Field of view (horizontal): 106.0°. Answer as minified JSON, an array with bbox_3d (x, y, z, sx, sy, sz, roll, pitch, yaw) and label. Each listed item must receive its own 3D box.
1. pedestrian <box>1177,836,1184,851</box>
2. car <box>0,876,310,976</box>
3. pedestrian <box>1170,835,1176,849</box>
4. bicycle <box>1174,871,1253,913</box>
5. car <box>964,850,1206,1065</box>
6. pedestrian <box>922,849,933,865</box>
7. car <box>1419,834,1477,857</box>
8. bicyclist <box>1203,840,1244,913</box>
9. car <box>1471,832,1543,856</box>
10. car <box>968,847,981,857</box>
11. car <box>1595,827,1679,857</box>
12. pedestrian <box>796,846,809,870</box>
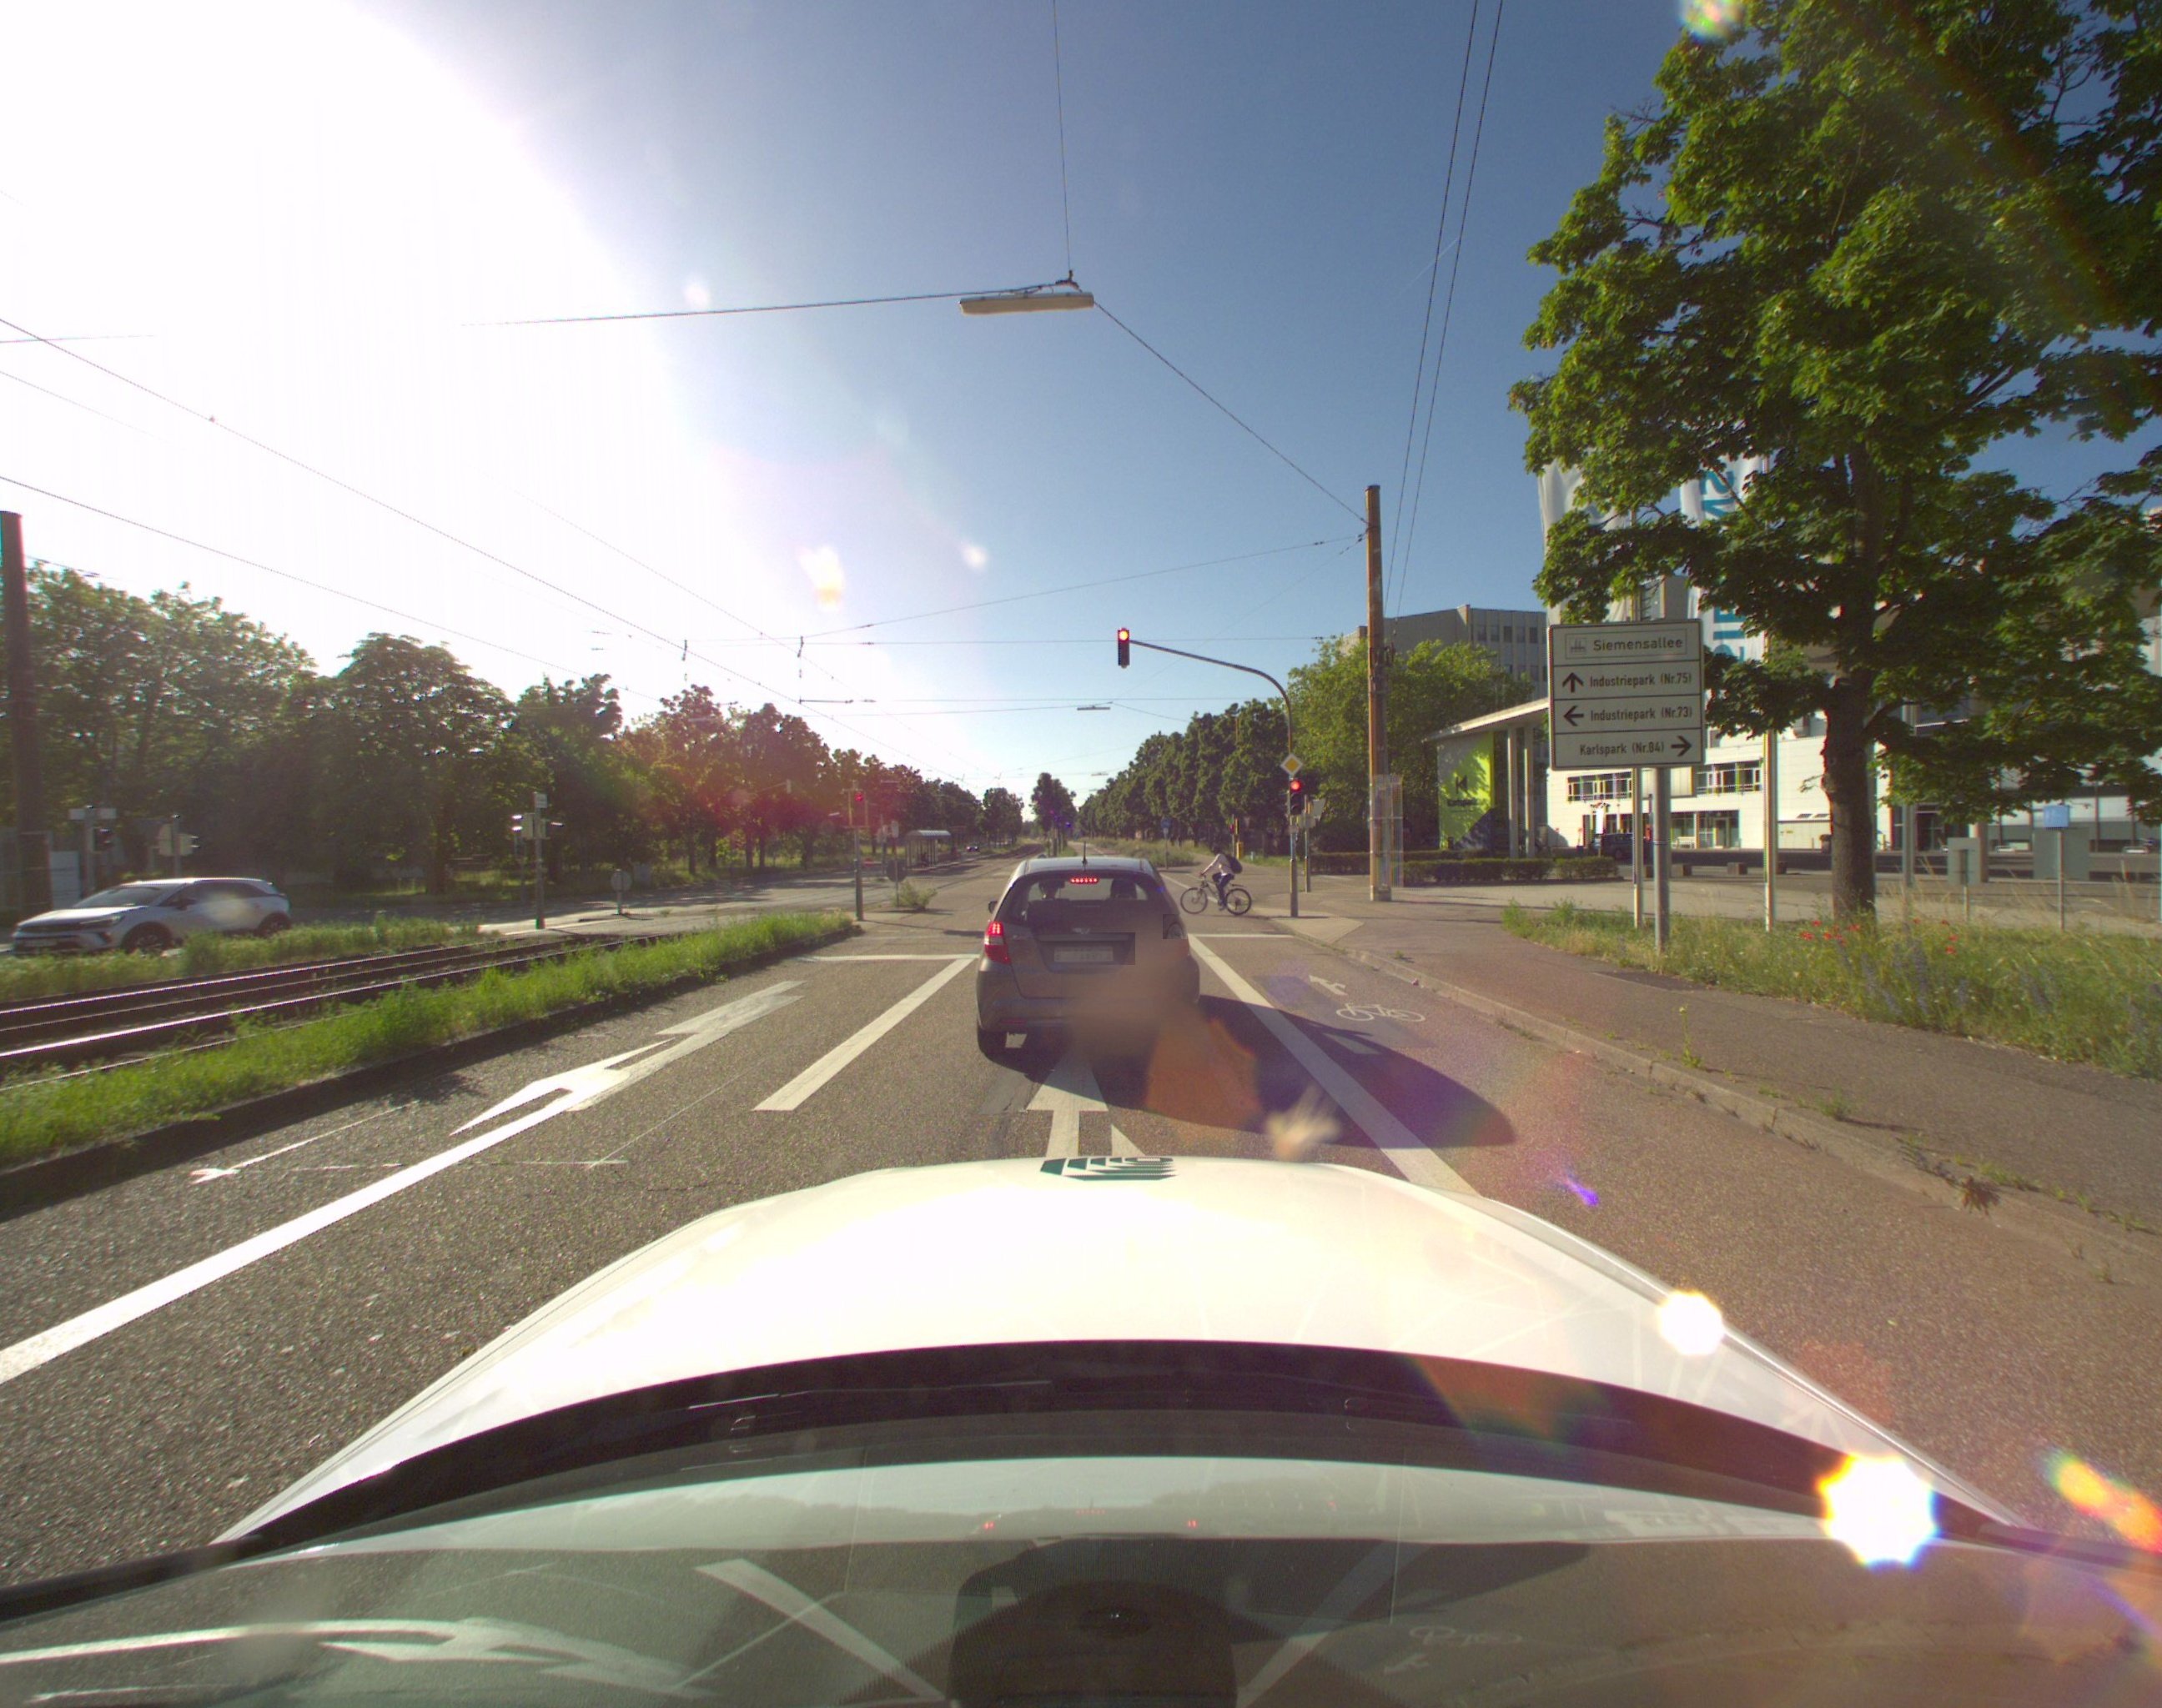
[{"bbox_3d":[10.991,-1.181,89.535,0.676,1.610,0.720,0,0,-1],"label":"pedestrian"},{"bbox_3d":[-18.461,1.323,16.436,1.846,1.606,4.250,-1,0,-3],"label":"car"},{"bbox_3d":[10.083,-1.296,89.414,0.565,1.596,0.665,0,0,-2],"label":"pedestrian"},{"bbox_3d":[3.313,0.939,20.286,1.907,0.998,0.767,0,0,12],"label":"bicycle"},{"bbox_3d":[0.113,0.728,7.756,1.700,1.509,4.002,-1,0,2],"label":"car"},{"bbox_3d":[-12.458,0.236,66.110,0.718,1.246,0.710,-2,0,0],"label":"pedestrian"},{"bbox_3d":[30.084,-0.711,66.809,3.989,1.757,1.993,-1,0,-11],"label":"car"},{"bbox_3d":[3.551,0.542,20.242,0.904,1.745,0.767,-3,-1,12],"label":"bicyclist"},{"bbox_3d":[31.216,-0.746,59.702,4.538,1.629,1.869,-1,0,-11],"label":"car"},{"bbox_3d":[-18.190,-0.322,139.331,1.761,1.738,3.999,-1,0,0],"label":"car"},{"bbox_3d":[33.739,-0.704,49.445,3.984,1.720,1.895,-1,0,-8],"label":"car"},{"bbox_3d":[-24.337,0.346,71.148,0.837,2.013,0.863,-1,0,0],"label":"pedestrian"}]
